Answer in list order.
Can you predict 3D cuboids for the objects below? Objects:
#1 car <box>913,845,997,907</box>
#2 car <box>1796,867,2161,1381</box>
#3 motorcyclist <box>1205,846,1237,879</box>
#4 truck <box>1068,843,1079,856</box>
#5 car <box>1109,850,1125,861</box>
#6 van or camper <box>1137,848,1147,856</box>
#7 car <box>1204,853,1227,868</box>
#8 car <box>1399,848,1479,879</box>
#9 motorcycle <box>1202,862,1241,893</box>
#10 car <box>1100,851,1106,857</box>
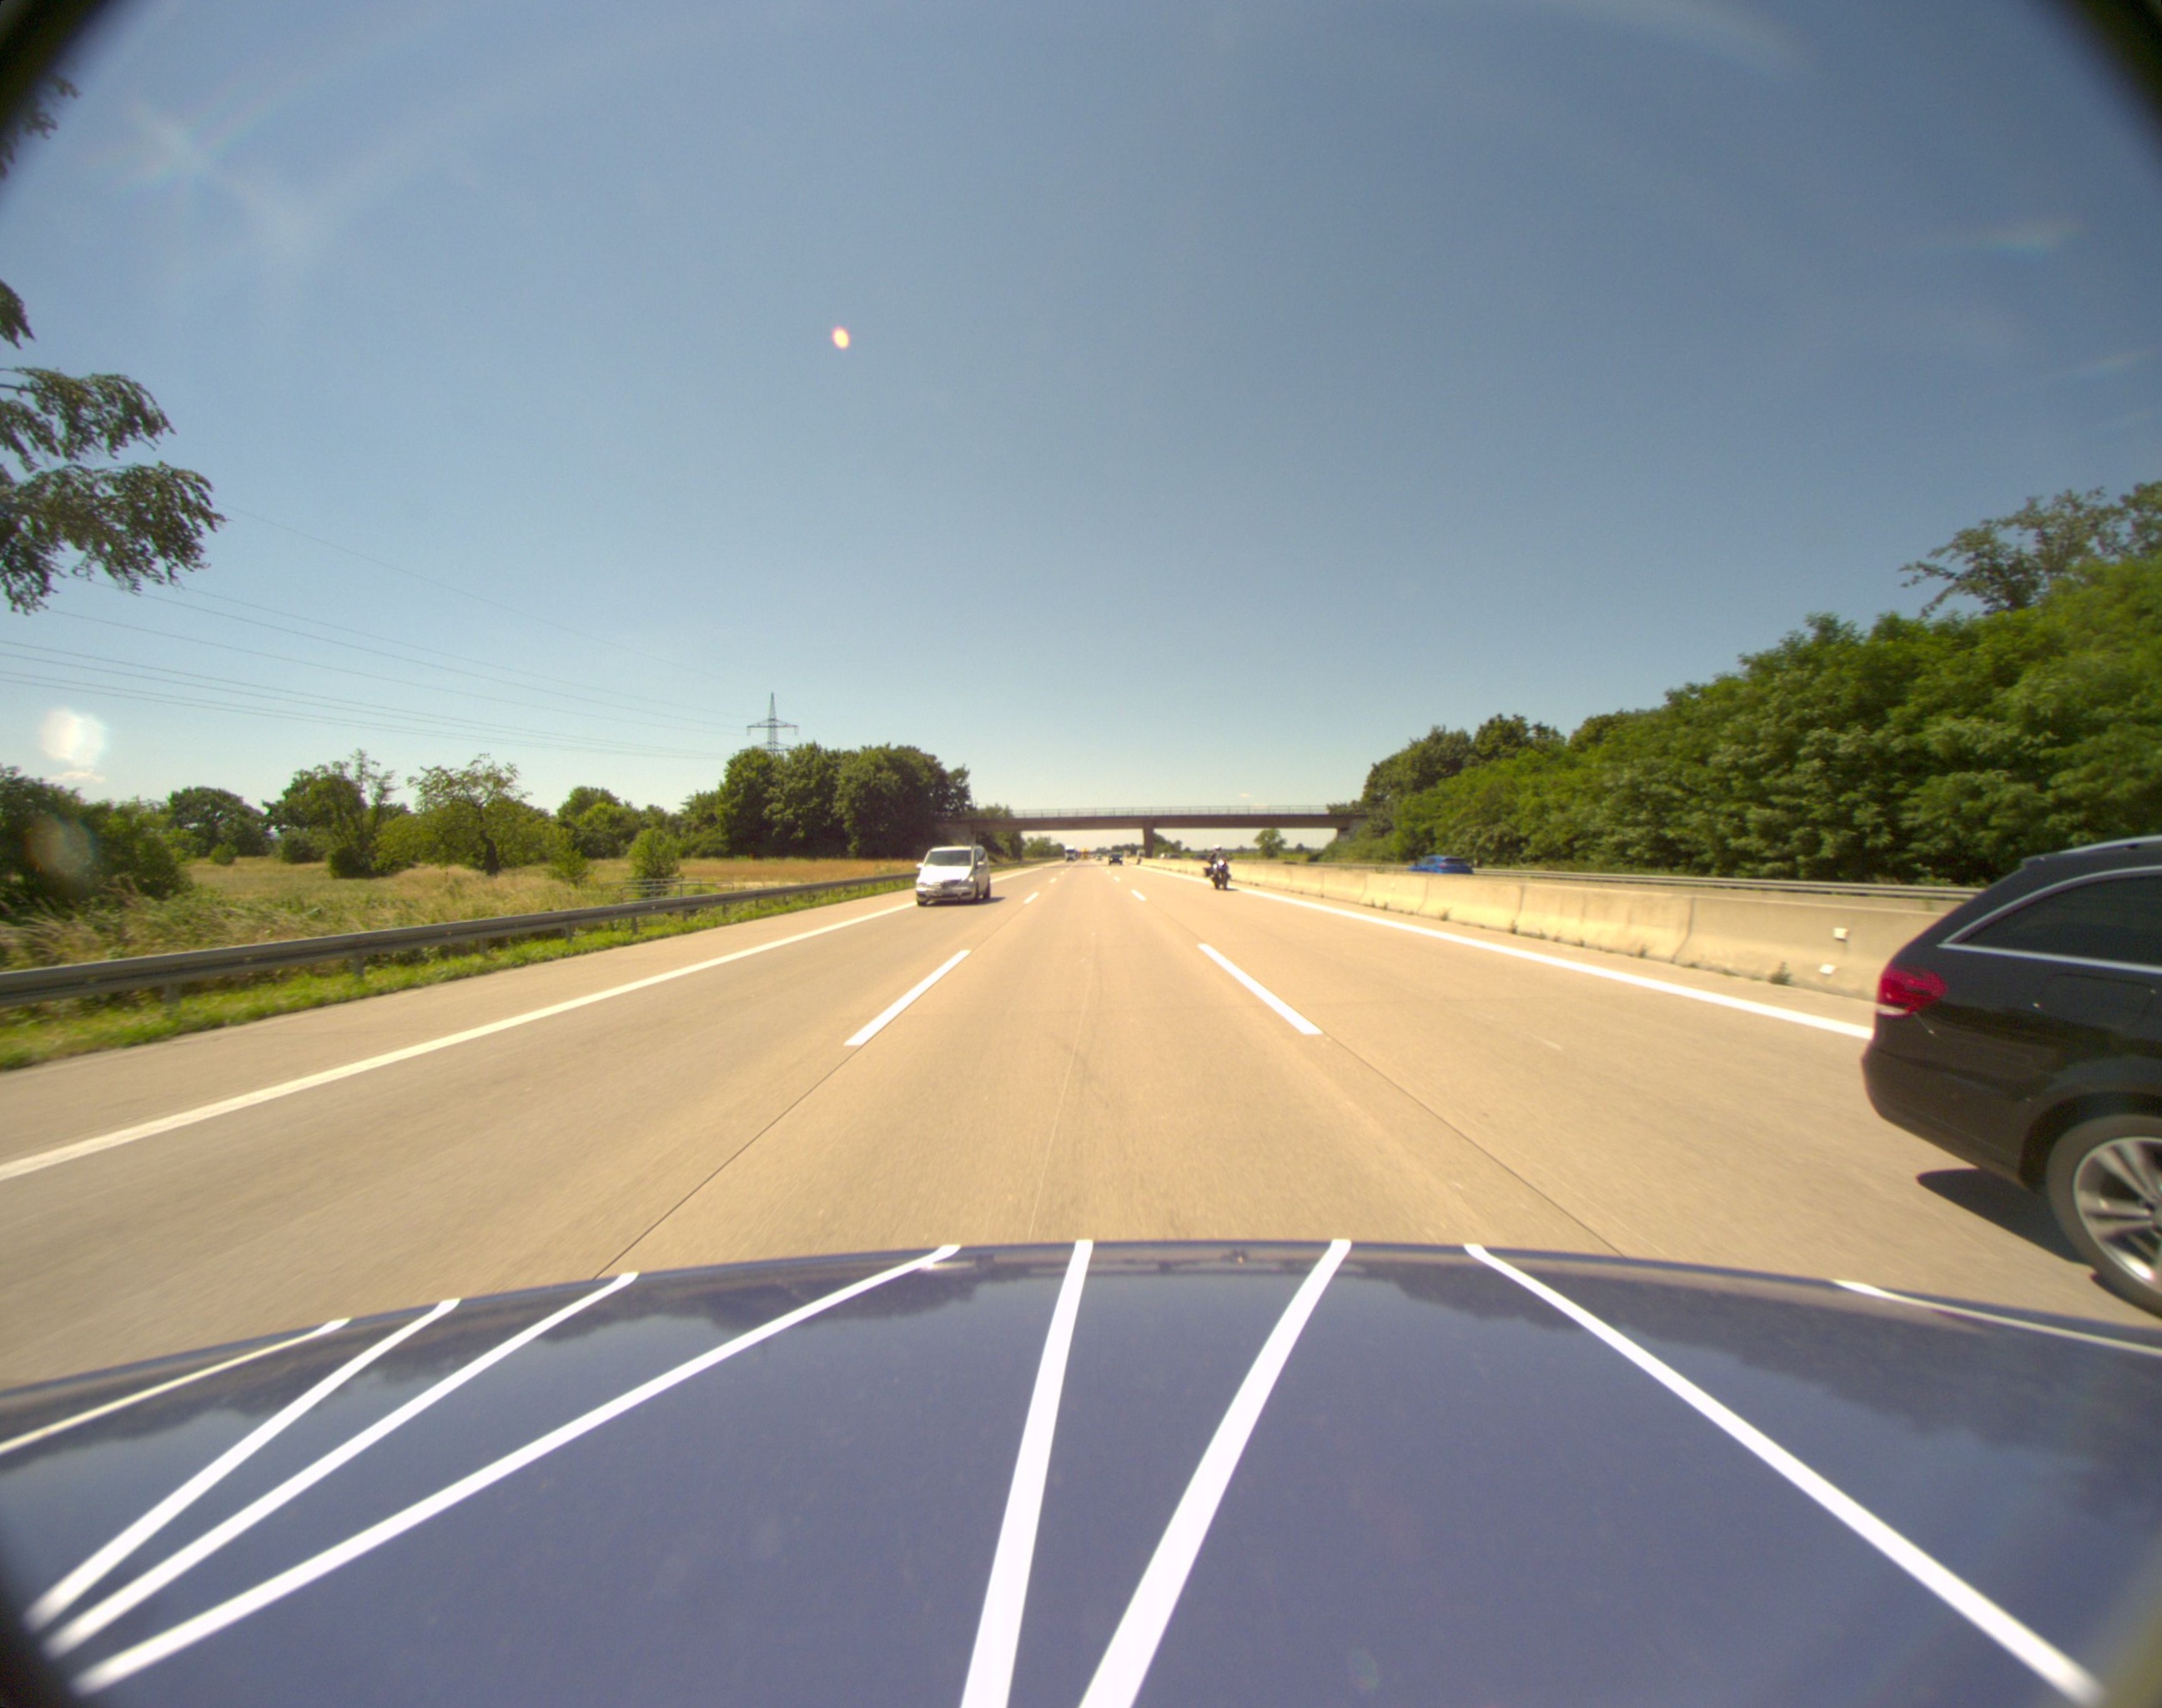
[{"bbox_3d":[-4.151,0.678,25.929,1.884,1.878,5.279,-1,0,1],"label":"car"},{"bbox_3d":[4.088,0.796,0.553,1.895,1.465,5.603,-1,0,1],"label":"car"},{"bbox_3d":[5.262,0.315,28.694,1.027,1.202,0.911,-1,0,0],"label":"motorcyclist"},{"bbox_3d":[-2.030,-1.196,204.021,2.570,3.514,10.100,-1,0,1],"label":"truck"},{"bbox_3d":[4.970,0.223,105.832,1.998,1.518,4.000,0,1,0],"label":"car"},{"bbox_3d":[18.433,-0.651,228.809,2.254,2.429,7.801,-2,0,0],"label":"van or camper"},{"bbox_3d":[13.736,0.639,77.916,1.703,1.408,4.015,-1,0,1],"label":"car"},{"bbox_3d":[17.265,0.418,36.889,1.713,1.377,4.507,-1,0,-1],"label":"car"},{"bbox_3d":[5.271,0.867,28.669,1.024,1.042,2.413,-2,0,0],"label":"motorcycle"},{"bbox_3d":[5.744,-0.035,199.894,1.586,1.527,3.611,0,1,0],"label":"car"}]
